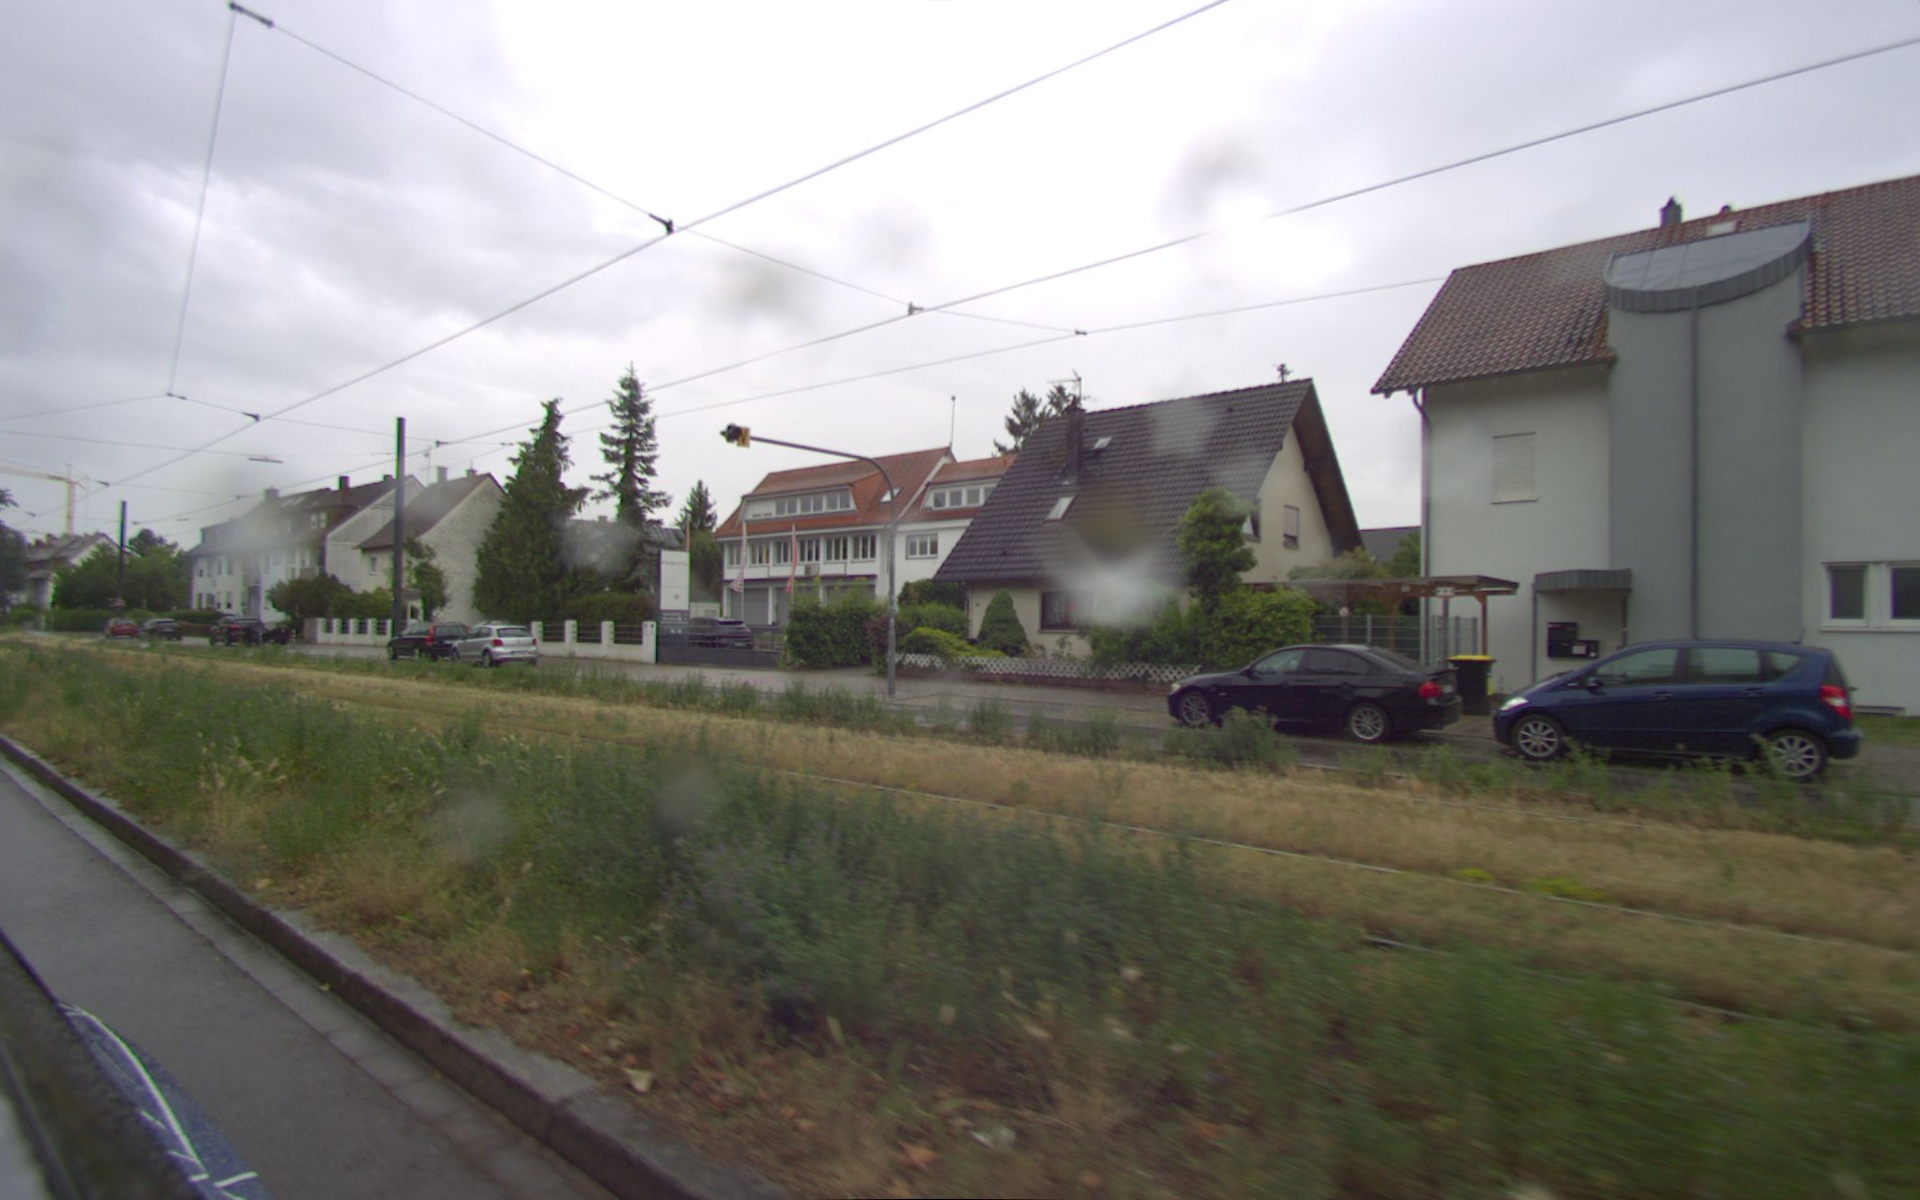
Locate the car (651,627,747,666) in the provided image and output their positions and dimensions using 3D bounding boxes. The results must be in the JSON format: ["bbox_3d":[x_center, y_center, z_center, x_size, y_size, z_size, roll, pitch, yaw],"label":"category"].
[{"bbox_3d":[-10.264,1.805,39.618,3.968,1.421,1.681,-2,-1,41],"label":"car"}]

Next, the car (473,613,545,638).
[{"bbox_3d":[-28.825,1.601,64.758,1.703,1.551,3.918,-2,-1,40],"label":"car"}]

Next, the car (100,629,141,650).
[{"bbox_3d":[-61.601,2.885,74.263,3.999,1.468,1.778,-2,-1,42],"label":"car"}]

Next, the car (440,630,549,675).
[{"bbox_3d":[-16.189,1.789,35.097,3.968,1.421,1.973,-2,-1,41],"label":"car"}]

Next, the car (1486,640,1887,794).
[{"bbox_3d":[8.998,1.324,12.762,3.868,1.562,1.854,-2,-1,41],"label":"car"}]

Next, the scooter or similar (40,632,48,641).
[{"bbox_3d":[-91.547,3.635,101.146,1.256,0.917,0.343,-1,-3,35],"label":"scooter or similar"}]

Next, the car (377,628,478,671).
[{"bbox_3d":[-20.244,1.836,38.413,4.530,1.467,1.972,-2,-1,42],"label":"car"}]

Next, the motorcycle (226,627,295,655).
[{"bbox_3d":[-36.336,2.126,52.625,2.645,1.421,1.269,1,0,-7],"label":"motorcycle"}]

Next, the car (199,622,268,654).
[{"bbox_3d":[-40.178,2.078,55.951,4.382,1.687,1.974,-1,-2,39],"label":"car"}]

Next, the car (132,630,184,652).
[{"bbox_3d":[-52.997,2.680,66.814,4.761,1.421,1.972,-2,-1,42],"label":"car"}]

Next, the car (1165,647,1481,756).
[{"bbox_3d":[5.586,1.480,15.884,4.239,1.361,1.972,-2,-1,42],"label":"car"}]
